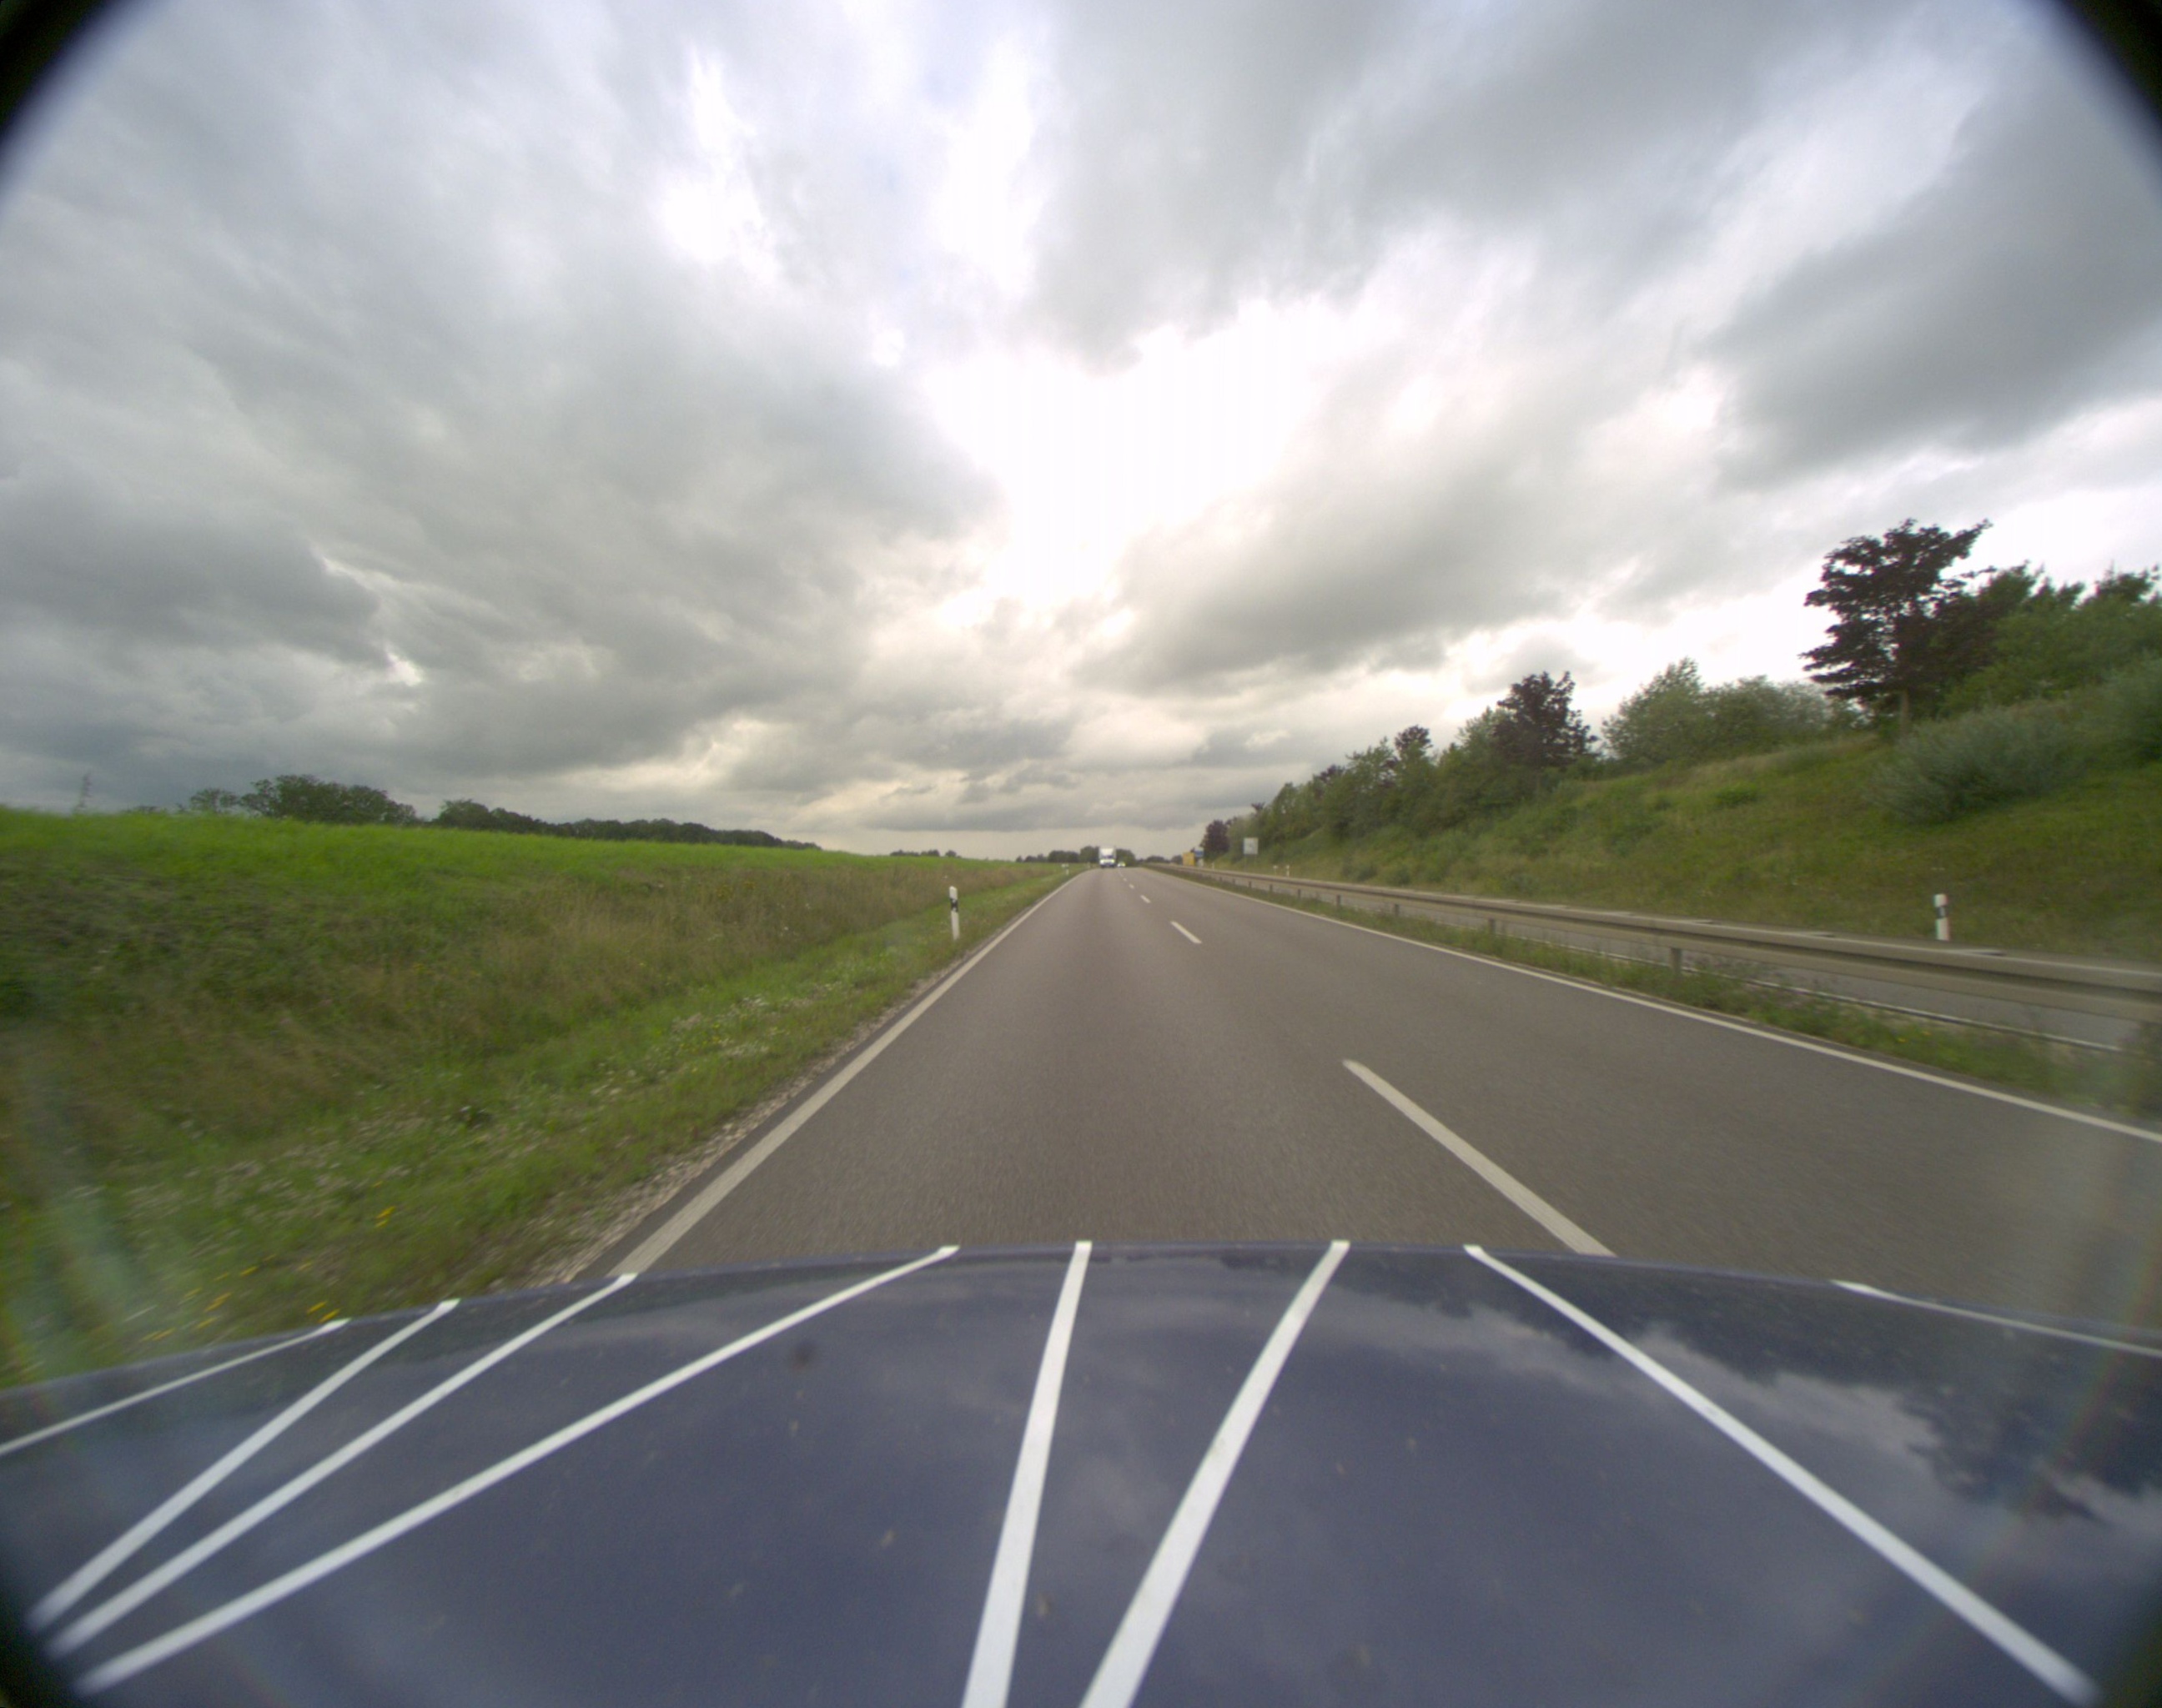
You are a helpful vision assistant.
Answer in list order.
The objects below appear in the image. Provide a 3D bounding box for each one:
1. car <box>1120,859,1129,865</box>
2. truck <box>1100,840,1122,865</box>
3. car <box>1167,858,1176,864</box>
[{"bbox_3d":[11.708,2.171,202.809,2.090,1.509,4.197,0,-2,7],"label":"car"},{"bbox_3d":[4.852,-0.152,121.289,2.933,3.651,8.450,0,-2,7],"label":"truck"},{"bbox_3d":[25.317,1.916,212.622,1.925,1.508,4.465,0,-2,2],"label":"car"}]
